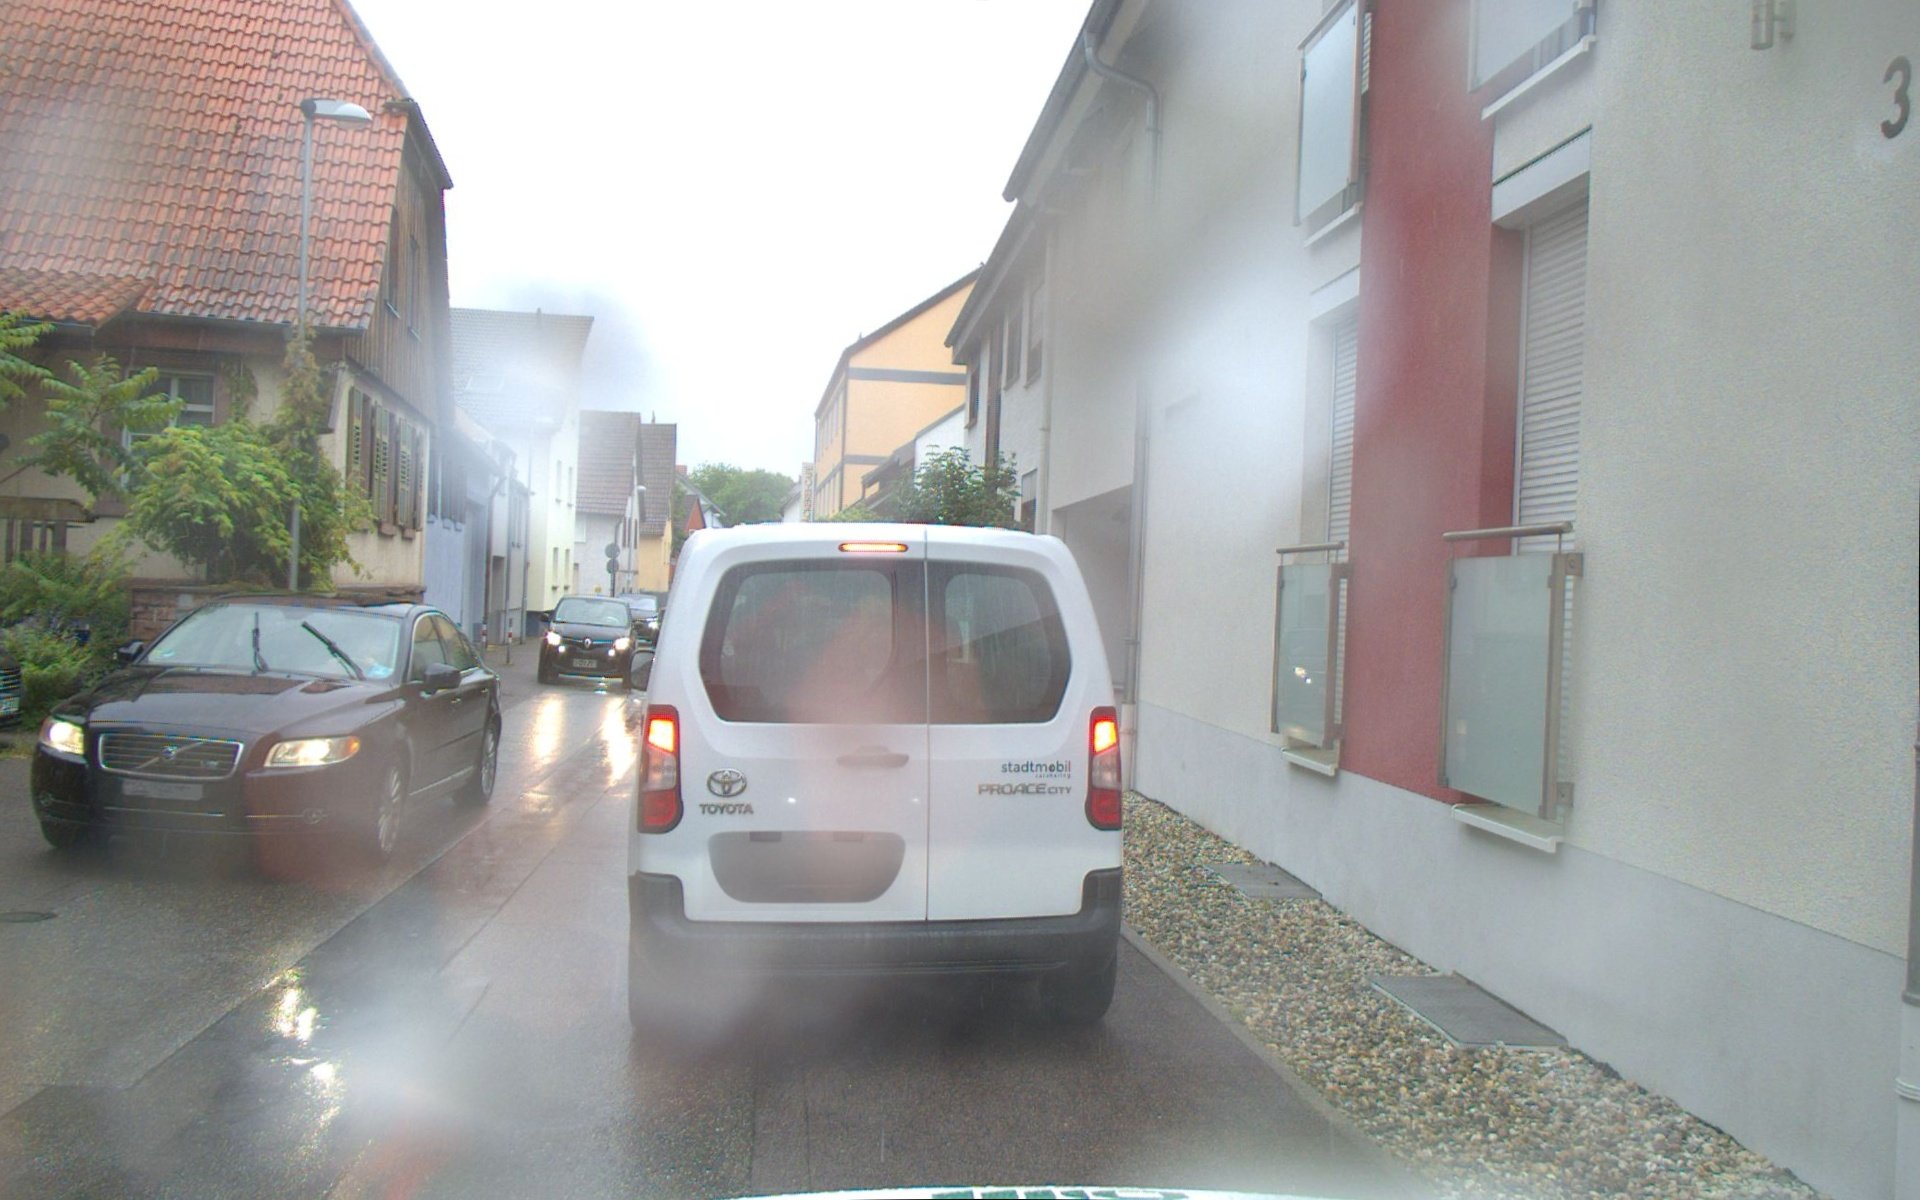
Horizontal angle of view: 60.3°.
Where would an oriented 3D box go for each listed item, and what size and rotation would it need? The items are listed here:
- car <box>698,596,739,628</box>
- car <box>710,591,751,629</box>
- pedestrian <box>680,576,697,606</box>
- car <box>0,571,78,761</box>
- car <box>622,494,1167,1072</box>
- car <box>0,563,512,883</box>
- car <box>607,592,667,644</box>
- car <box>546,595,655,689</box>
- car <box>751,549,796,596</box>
[{"bbox_3d":[-11.208,0.546,76.672,1.747,1.419,3.990,1,0,-10],"label":"car"},{"bbox_3d":[-9.417,0.394,67.643,1.532,1.503,3.990,1,0,-10],"label":"car"},{"bbox_3d":[-17.723,-0.560,108.097,1.031,1.926,0.875,1,-1,-9],"label":"pedestrian"},{"bbox_3d":[-9.403,0.308,12.938,3.908,1.450,1.735,7,-1,-1],"label":"car"},{"bbox_3d":[-0.496,0.591,7.309,1.742,1.811,3.991,1,0,-9],"label":"car"},{"bbox_3d":[-4.018,0.629,10.251,1.663,1.535,4.336,1,-1,-6],"label":"car"},{"bbox_3d":[-10.609,0.579,54.490,1.799,1.583,4.229,2,0,-10],"label":"car"},{"bbox_3d":[-6.432,0.717,29.885,1.574,1.539,3.681,2,0,-8],"label":"car"},{"bbox_3d":[-8.560,-1.239,76.226,1.955,2.049,3.995,1,0,-6],"label":"car"}]
